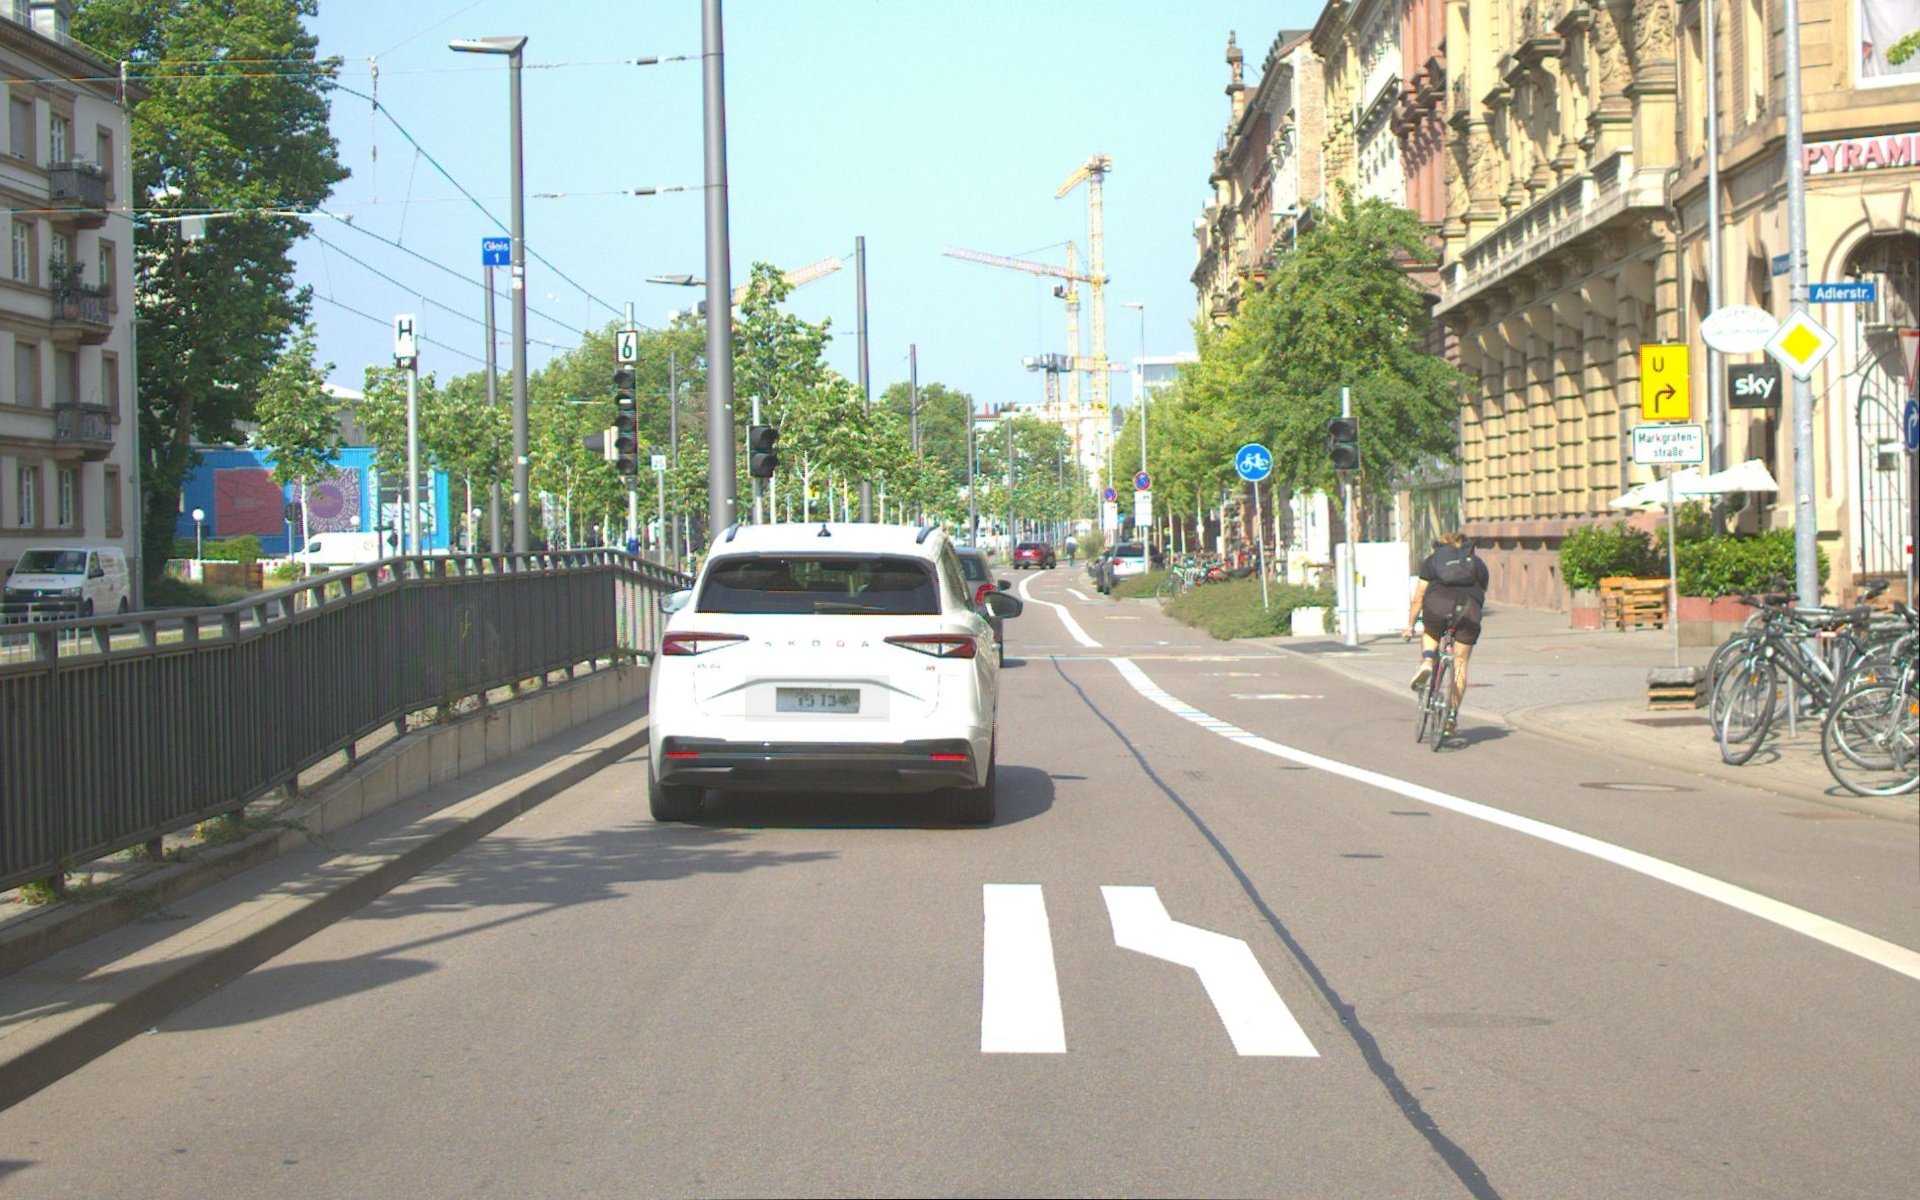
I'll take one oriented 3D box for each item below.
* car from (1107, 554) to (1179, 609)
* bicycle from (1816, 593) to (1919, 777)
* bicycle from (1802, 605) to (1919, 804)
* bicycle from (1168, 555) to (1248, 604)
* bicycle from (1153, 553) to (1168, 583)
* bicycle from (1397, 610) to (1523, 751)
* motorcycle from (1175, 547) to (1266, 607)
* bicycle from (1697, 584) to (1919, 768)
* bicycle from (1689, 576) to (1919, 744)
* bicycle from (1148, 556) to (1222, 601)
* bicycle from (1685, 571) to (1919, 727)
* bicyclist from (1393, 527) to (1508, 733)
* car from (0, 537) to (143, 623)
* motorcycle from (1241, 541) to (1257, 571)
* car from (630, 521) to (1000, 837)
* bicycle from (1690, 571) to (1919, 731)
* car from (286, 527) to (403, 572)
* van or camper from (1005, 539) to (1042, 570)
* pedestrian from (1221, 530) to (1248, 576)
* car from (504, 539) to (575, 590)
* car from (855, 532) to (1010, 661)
[{"bbox_3d":[5.655,-0.580,106.494,1.769,1.583,4.248,-2,1,-2],"label":"car"},{"bbox_3d":[6.409,0.483,21.706,1.755,1.084,0.658,-4,1,-8],"label":"bicycle"},{"bbox_3d":[5.929,0.561,20.150,1.755,1.084,0.611,-4,1,-8],"label":"bicycle"},{"bbox_3d":[6.040,-0.507,83.735,1.806,1.092,0.672,-3,1,-4],"label":"bicycle"},{"bbox_3d":[7.445,-1.196,127.782,0.492,1.090,1.826,-1,1,1],"label":"bicycle"},{"bbox_3d":[3.704,0.579,25.381,0.506,0.950,1.783,-2,0,21],"label":"bicycle"},{"bbox_3d":[6.038,-0.532,79.637,2.035,1.282,0.705,-4,2,-33],"label":"motorcycle"},{"bbox_3d":[5.911,0.494,23.038,1.755,1.084,0.673,-5,1,-21],"label":"bicycle"},{"bbox_3d":[6.133,0.420,24.425,1.755,1.084,0.668,-3,1,7],"label":"bicycle"},{"bbox_3d":[5.593,-0.534,85.438,1.784,1.050,0.373,-3,1,0],"label":"bicycle"},{"bbox_3d":[6.494,0.369,26.274,1.752,1.084,0.582,-3,1,4],"label":"bicycle"},{"bbox_3d":[3.616,0.211,25.304,0.584,1.477,0.930,-2,0,21],"label":"bicyclist"},{"bbox_3d":[-20.715,-0.499,80.143,1.993,1.911,5.153,1,1,2],"label":"car"},{"bbox_3d":[11.622,-1.765,138.253,0.463,1.171,1.945,-3,1,1],"label":"motorcycle"},{"bbox_3d":[-0.700,0.364,19.445,1.817,1.584,4.407,0,1,1],"label":"car"},{"bbox_3d":[6.404,0.372,25.674,1.752,1.084,0.582,-3,1,4],"label":"bicycle"},{"bbox_3d":[-38.544,-3.172,215.235,6.872,2.629,2.515,1,0,-19],"label":"car"},{"bbox_3d":[3.577,-2.564,193.847,1.993,1.649,4.000,-2,1,1],"label":"van or camper"},{"bbox_3d":[10.291,-1.770,128.863,0.823,1.691,0.793,-3,1,-3],"label":"pedestrian"},{"bbox_3d":[-16.358,-1.392,133.979,1.993,1.888,5.046,-1,1,2],"label":"car"},{"bbox_3d":[-0.283,-0.072,41.601,1.754,1.479,4.407,0,1,1],"label":"car"}]
